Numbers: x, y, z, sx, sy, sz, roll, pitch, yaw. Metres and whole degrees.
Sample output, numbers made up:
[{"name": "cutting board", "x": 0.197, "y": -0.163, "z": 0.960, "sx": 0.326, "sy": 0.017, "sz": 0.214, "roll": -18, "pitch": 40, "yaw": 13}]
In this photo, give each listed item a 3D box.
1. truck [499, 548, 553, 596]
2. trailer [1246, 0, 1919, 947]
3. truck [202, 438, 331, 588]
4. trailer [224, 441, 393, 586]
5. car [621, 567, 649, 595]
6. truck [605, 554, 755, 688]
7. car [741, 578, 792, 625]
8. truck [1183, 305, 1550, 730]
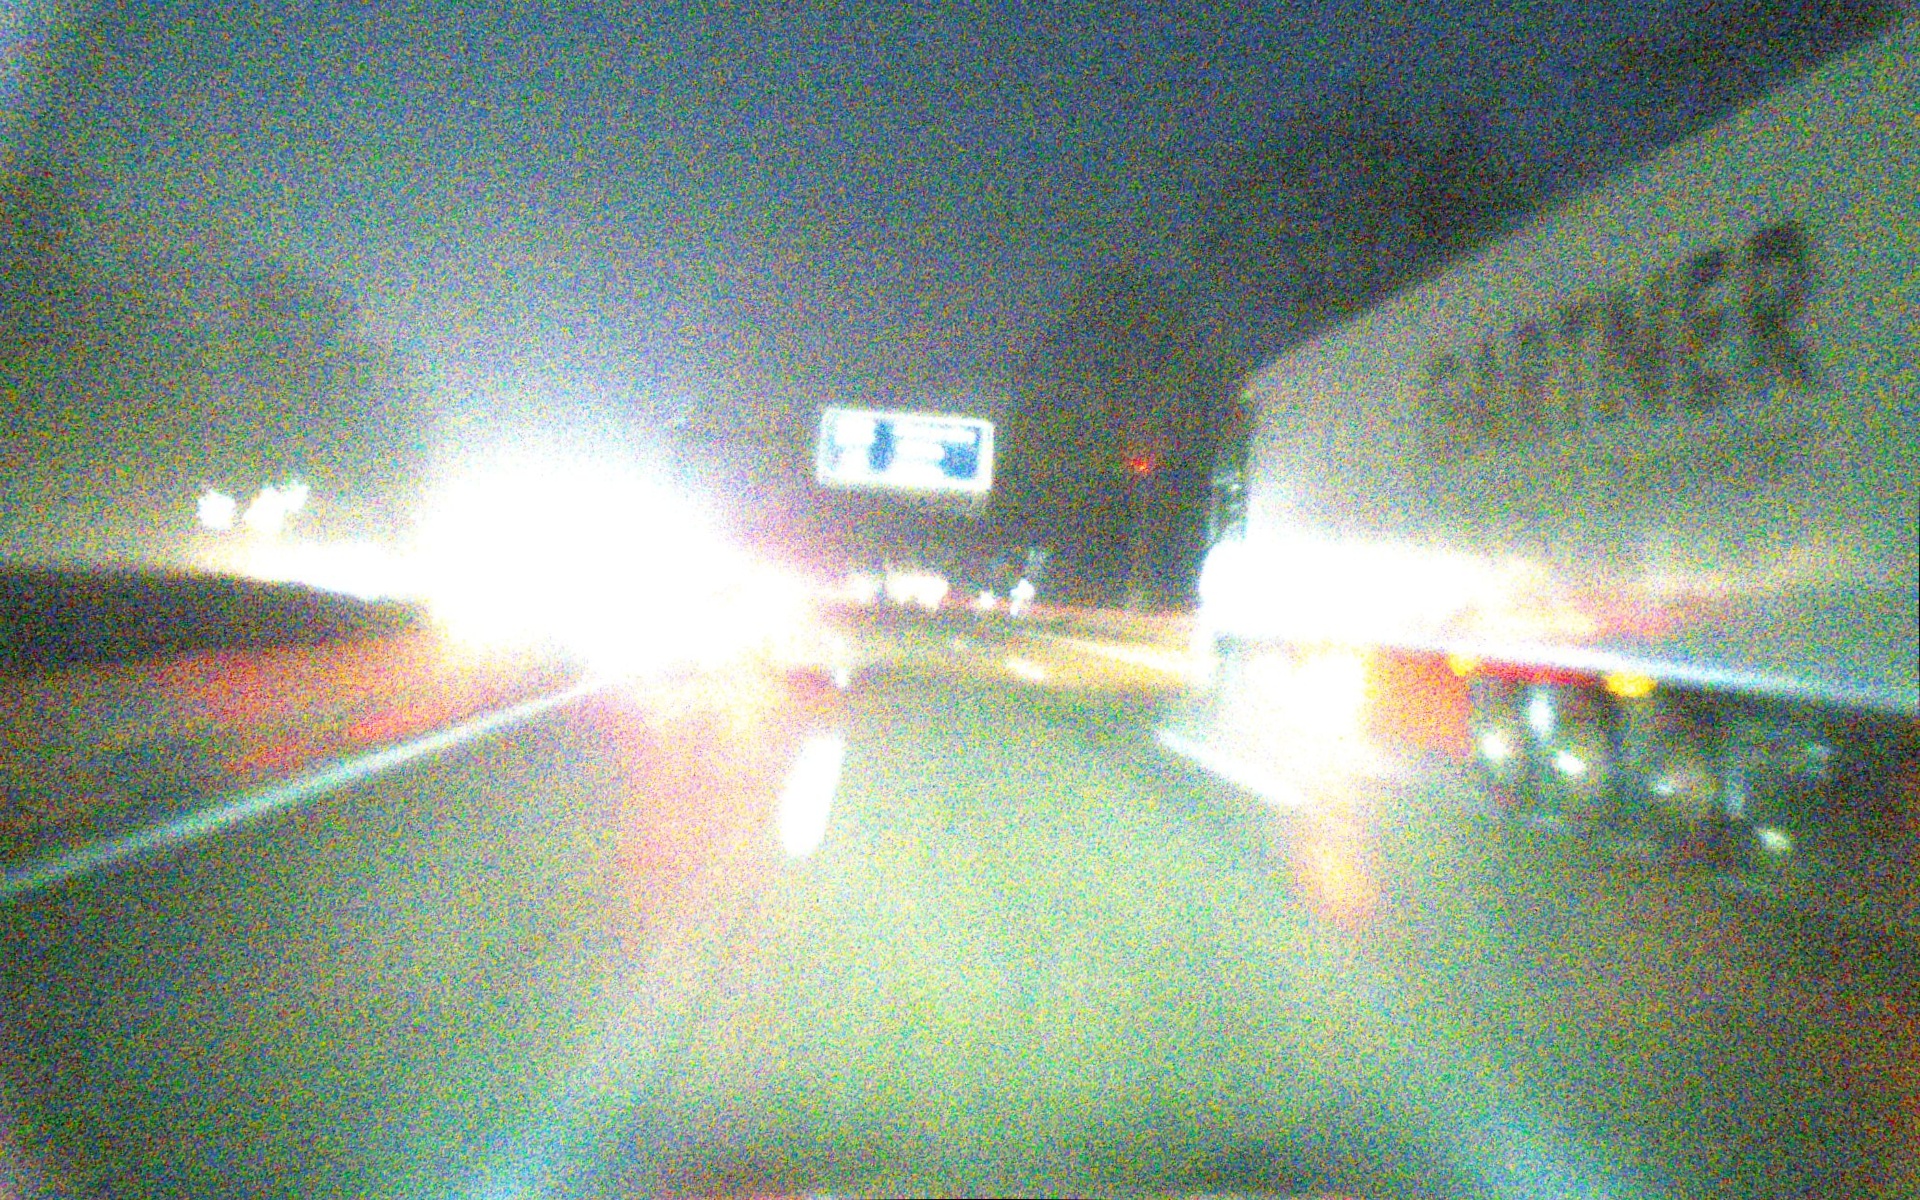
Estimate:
[{"name": "truck", "x": -27.204, "y": -1.755, "z": 103.820, "sx": 2.242, "sy": 2.718, "sz": 6.113, "roll": 4, "pitch": 0, "yaw": -7}, {"name": "trailer", "x": 5.108, "y": -0.751, "z": 12.677, "sx": 2.685, "sy": 4.322, "sz": 13.363, "roll": 1, "pitch": 1, "yaw": -3}, {"name": "truck", "x": -26.041, "y": -3.225, "z": 62.386, "sx": 2.701, "sy": 5.185, "sz": 5.873, "roll": 4, "pitch": 1, "yaw": -8}, {"name": "trailer", "x": -26.948, "y": -3.515, "z": 69.378, "sx": 2.720, "sy": 5.178, "sz": 14.913, "roll": 4, "pitch": 2, "yaw": -8}, {"name": "car", "x": -27.349, "y": -1.654, "z": 139.295, "sx": 1.957, "sy": 2.048, "sz": 5.186, "roll": 4, "pitch": 2, "yaw": -9}, {"name": "truck", "x": -4.944, "y": 0.259, "z": 30.078, "sx": 2.103, "sy": 2.113, "sz": 6.598, "roll": 0, "pitch": 2, "yaw": -5}, {"name": "car", "x": -9.551, "y": 0.035, "z": 81.790, "sx": 1.953, "sy": 2.048, "sz": 4.000, "roll": 5, "pitch": 1, "yaw": -1}, {"name": "truck", "x": 4.637, "y": -0.890, "z": 20.013, "sx": 2.657, "sy": 4.315, "sz": 5.289, "roll": 3, "pitch": 0, "yaw": -4}]
